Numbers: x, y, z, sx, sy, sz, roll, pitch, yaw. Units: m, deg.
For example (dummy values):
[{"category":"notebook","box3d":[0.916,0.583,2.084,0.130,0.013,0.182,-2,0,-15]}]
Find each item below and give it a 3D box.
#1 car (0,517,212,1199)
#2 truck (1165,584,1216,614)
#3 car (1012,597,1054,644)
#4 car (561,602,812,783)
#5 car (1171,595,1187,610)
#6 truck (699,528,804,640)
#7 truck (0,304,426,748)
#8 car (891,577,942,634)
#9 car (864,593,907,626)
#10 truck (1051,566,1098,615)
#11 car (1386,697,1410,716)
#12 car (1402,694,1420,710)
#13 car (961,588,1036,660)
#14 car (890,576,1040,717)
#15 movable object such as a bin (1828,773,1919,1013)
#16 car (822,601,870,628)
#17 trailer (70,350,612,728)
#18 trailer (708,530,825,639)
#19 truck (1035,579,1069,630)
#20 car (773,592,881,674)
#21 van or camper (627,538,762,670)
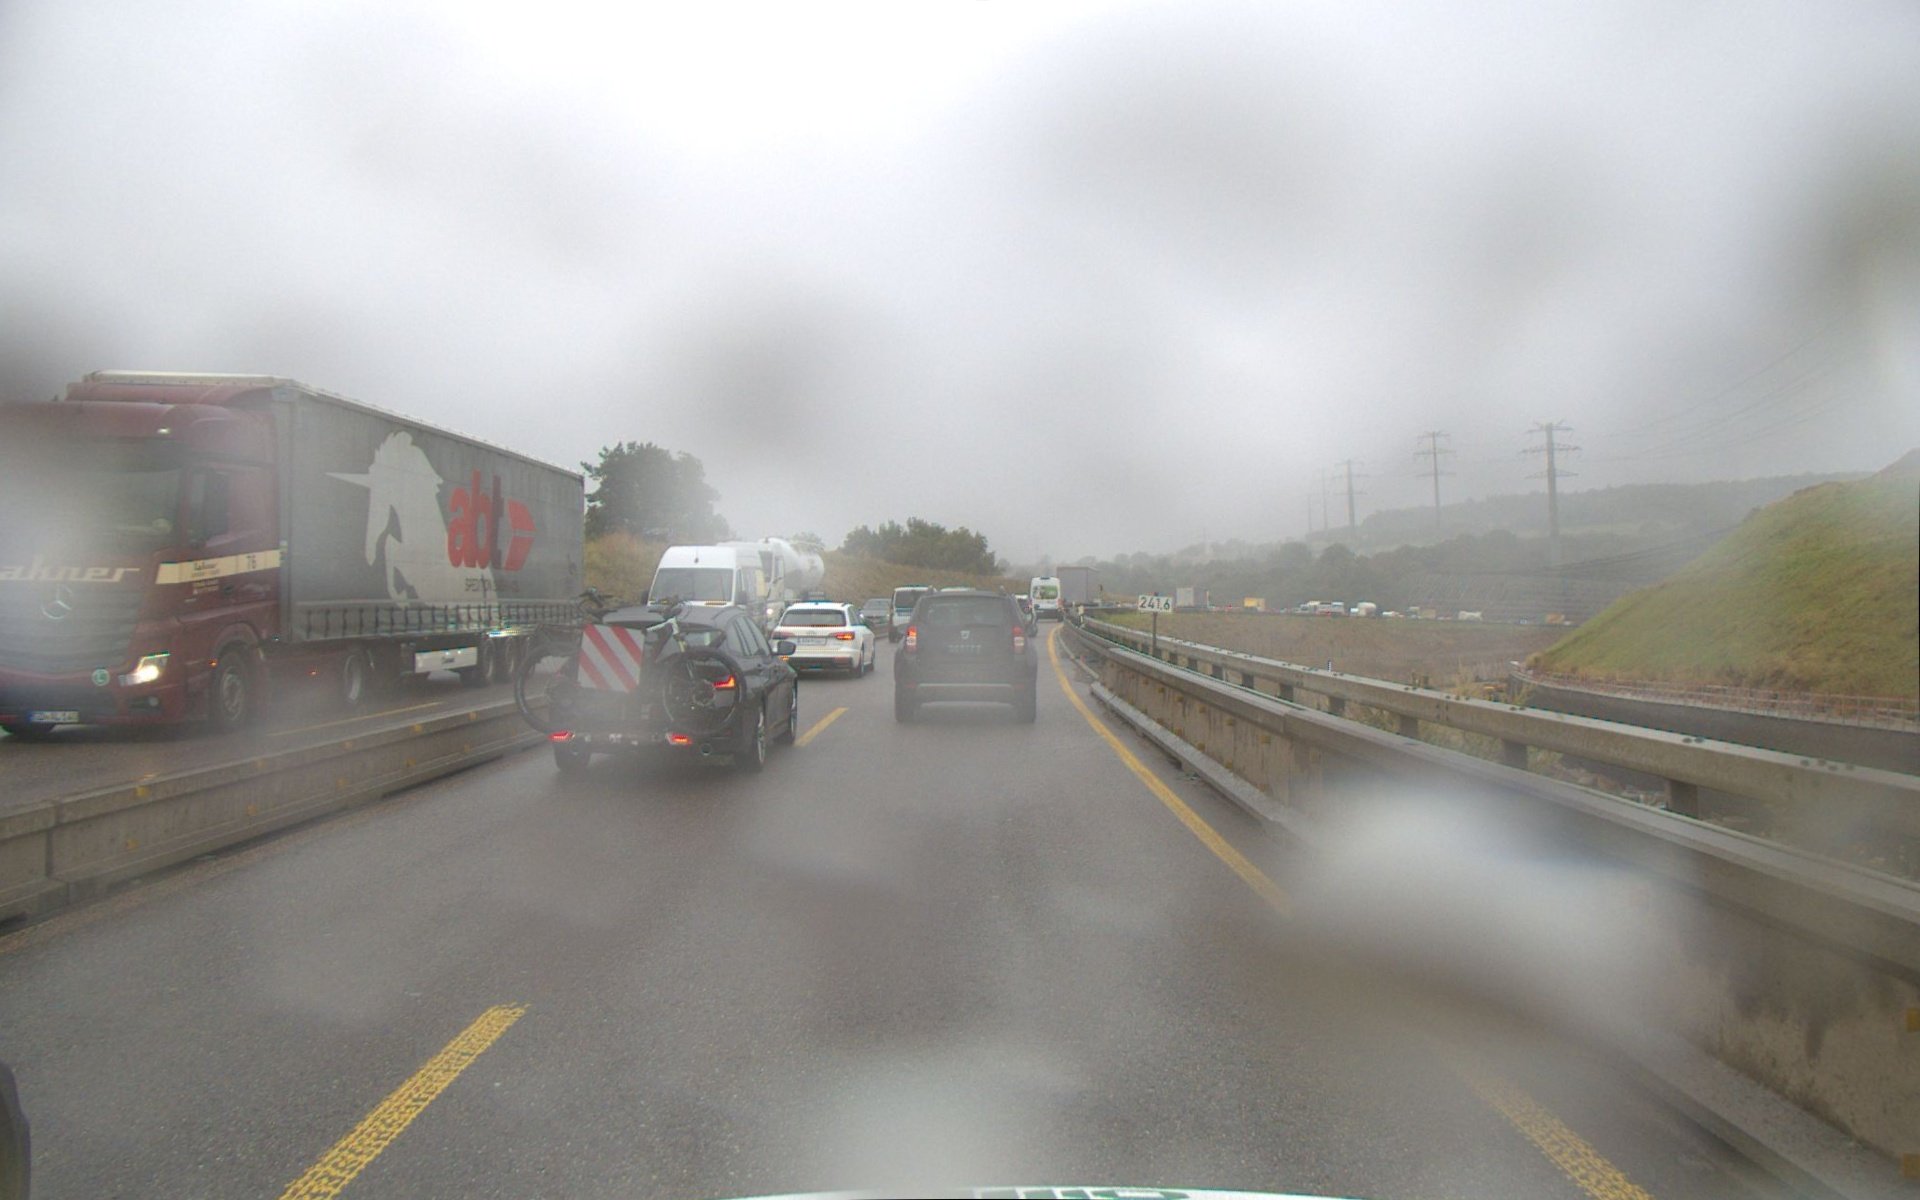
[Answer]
[{"category":"car","box3d":[-2.412,0.649,1.225,1.580,1.532,4.369,-2,0,2]},{"category":"truck","box3d":[34.130,-0.064,244.311,4.619,4.222,15.688,1,0,19]},{"category":"car","box3d":[2.765,0.742,62.201,1.498,1.669,4.014,1,0,3]},{"category":"car","box3d":[-2.456,0.785,15.720,1.791,1.502,3.775,0,0,-1]},{"category":"car","box3d":[28.504,0.333,215.243,1.737,1.949,4.003,1,0,12]},{"category":"truck","box3d":[-7.776,-0.561,62.429,3.165,4.025,5.881,-1,0,0]},{"category":"truck","box3d":[-9.276,-0.762,20.401,2.918,4.486,6.932,-2,0,1]},{"category":"car","box3d":[-1.474,0.185,57.374,1.626,1.913,4.020,1,0,0]},{"category":"car","box3d":[-3.468,0.449,77.554,1.766,1.464,4.950,-2,0,0]},{"category":"truck","box3d":[9.347,-0.725,134.005,3.132,3.827,8.516,1,0,8]},{"category":"car","box3d":[52.958,12.884,199.971,2.314,2.049,4.003,1,0,9]},{"category":"car","box3d":[58.954,13.286,216.163,1.951,1.847,4.003,0,-1,11]},{"category":"car","box3d":[0.941,0.596,42.400,1.829,1.738,4.000,1,0,0]},{"category":"car","box3d":[0.129,0.565,21.529,1.767,1.675,3.777,0,0,2]},{"category":"movable object such as a bin","box3d":[26.723,7.595,40.833,4.791,5.770,12.093,2,-3,3]},{"category":"car","box3d":[-7.213,0.884,105.249,1.951,1.614,5.123,1,0,9]},{"category":"trailer","box3d":[-9.156,-0.801,27.903,2.933,4.498,15.704,-2,0,1]},{"category":"trailer","box3d":[-7.692,-0.552,67.511,3.188,4.033,11.538,-1,0,1]},{"category":"truck","box3d":[5.985,0.272,107.737,2.104,3.221,6.462,1,0,3]},{"category":"car","box3d":[-2.561,0.617,32.722,1.830,1.486,4.547,1,0,-1]},{"category":"van or camper","box3d":[-5.784,0.083,36.745,2.233,2.660,5.825,1,0,-2]}]
